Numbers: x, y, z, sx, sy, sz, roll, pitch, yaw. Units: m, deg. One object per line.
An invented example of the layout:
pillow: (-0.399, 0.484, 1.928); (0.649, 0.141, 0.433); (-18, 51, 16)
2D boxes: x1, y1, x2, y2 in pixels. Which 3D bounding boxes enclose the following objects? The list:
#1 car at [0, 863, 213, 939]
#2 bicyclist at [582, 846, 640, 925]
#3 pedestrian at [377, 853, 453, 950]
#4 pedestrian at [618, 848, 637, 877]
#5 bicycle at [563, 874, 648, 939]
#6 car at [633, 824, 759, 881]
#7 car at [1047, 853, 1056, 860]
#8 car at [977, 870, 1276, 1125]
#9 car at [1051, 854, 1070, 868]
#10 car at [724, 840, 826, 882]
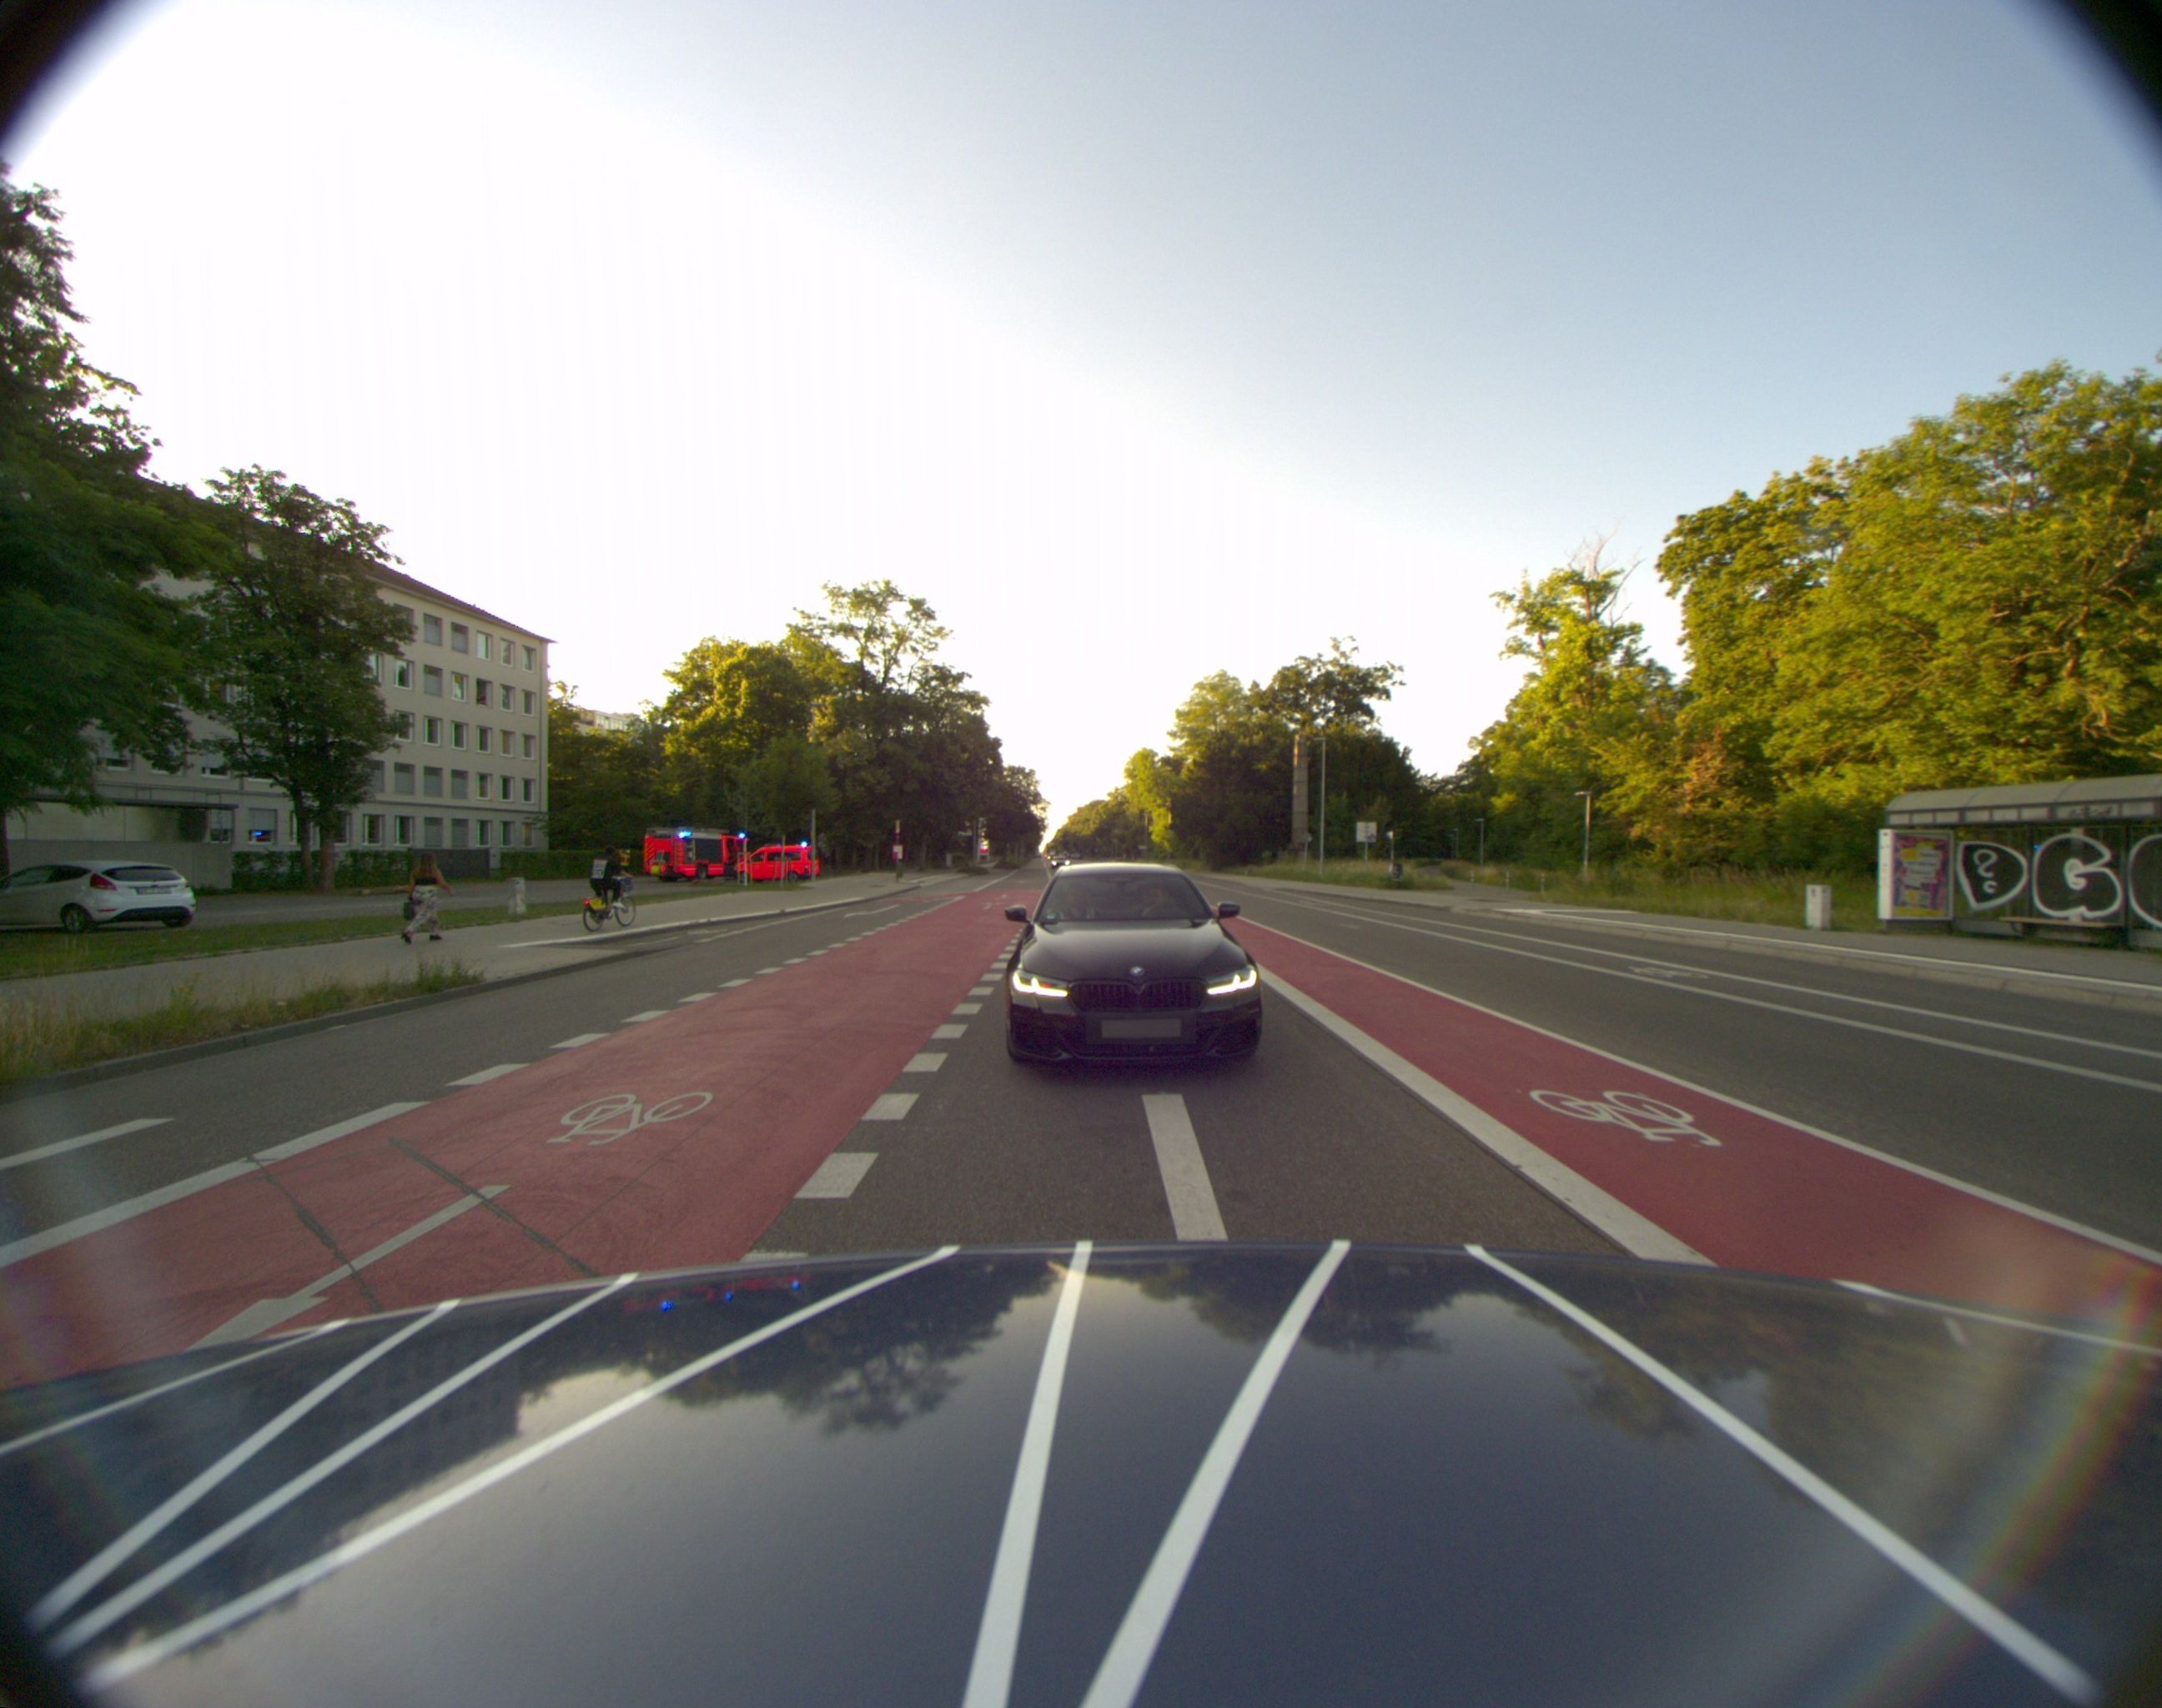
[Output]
car: (-20.819, 0.927, 15.878); (3.662, 1.451, 1.665); (0, 1, 5)
bicyclist: (-10.003, 0.653, 16.197); (0.571, 1.623, 1.038); (0, 1, 1)
pedestrian: (-11.393, 0.789, 13.014); (0.682, 1.613, 0.688); (0, 0, 1)
pedestrian: (-29.537, 0.542, 49.473); (0.845, 1.831, 0.683); (0, 0, 4)
bicycle: (-10.006, 1.067, 16.072); (0.571, 1.233, 1.899); (0, 1, 1)
car: (-23.622, -0.132, 47.236); (2.770, 3.225, 8.301); (0, 0, 7)
car: (-6.696, 0.588, 174.878); (1.850, 1.473, 4.703); (-2, 0, 0)
car: (0.298, 0.956, 7.357); (1.818, 1.391, 5.213); (-2, 0, 0)
car: (-2.207, 0.714, 82.287); (1.850, 1.346, 4.702); (-2, 0, -1)
car: (-17.942, 0.398, 44.707); (5.164, 2.379, 2.000); (0, 1, 3)
